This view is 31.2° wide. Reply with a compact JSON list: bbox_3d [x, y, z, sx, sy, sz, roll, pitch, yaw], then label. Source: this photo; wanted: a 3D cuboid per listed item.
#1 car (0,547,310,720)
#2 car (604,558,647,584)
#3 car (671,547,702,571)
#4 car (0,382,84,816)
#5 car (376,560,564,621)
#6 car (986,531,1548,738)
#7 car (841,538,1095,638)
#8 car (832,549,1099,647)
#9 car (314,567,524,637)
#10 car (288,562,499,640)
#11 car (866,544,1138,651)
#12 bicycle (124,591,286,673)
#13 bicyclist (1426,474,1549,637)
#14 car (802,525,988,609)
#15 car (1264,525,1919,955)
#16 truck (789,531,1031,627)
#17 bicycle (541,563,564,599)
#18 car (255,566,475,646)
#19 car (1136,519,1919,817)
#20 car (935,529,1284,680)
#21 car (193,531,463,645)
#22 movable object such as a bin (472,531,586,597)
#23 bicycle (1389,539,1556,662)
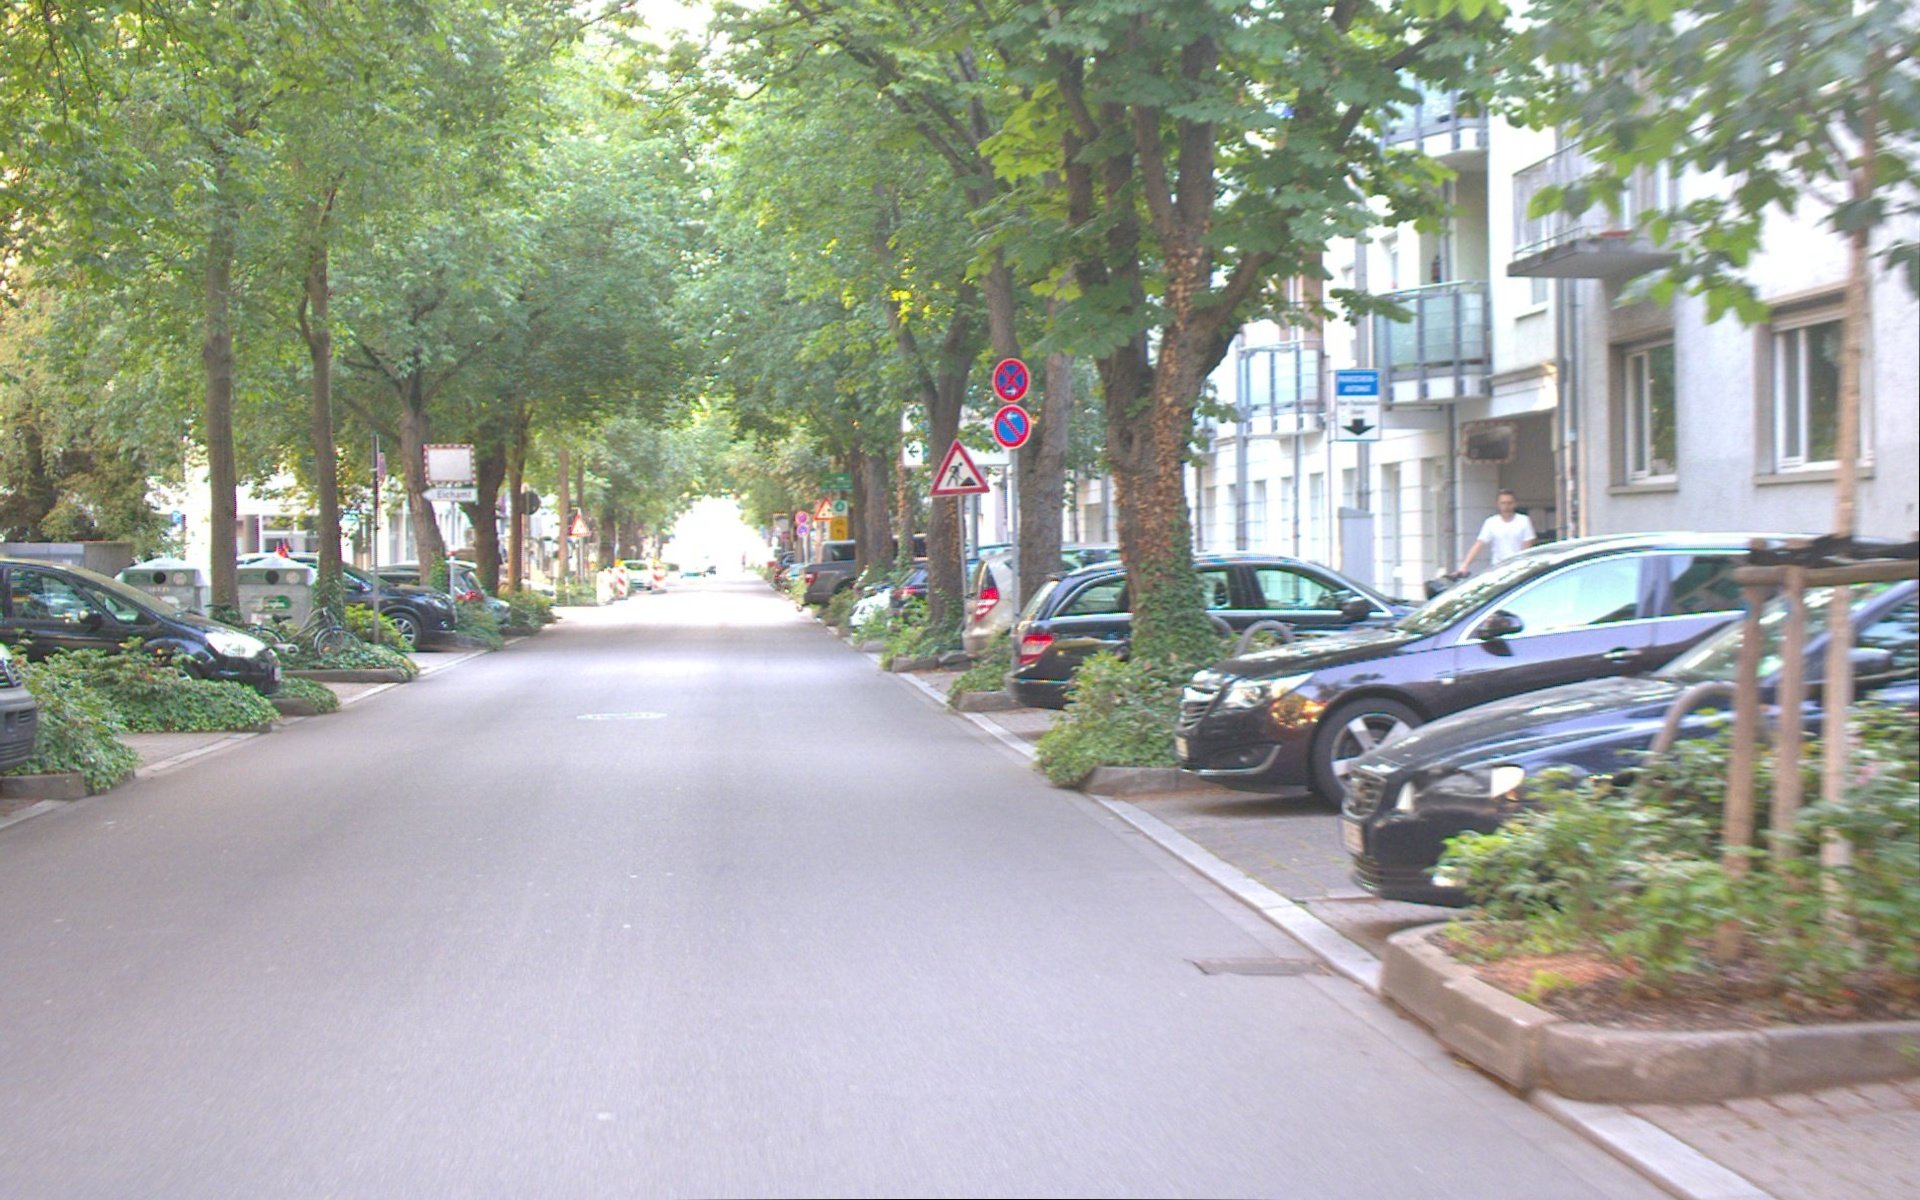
[{"bbox_3d":[-8.950,0.310,33.606,4.852,1.616,2.160,0,1,-3],"label":"car"},{"bbox_3d":[-16.733,-1.459,171.816,1.993,1.284,4.001,-1,1,-8],"label":"car"},{"bbox_3d":[-18.439,-2.780,231.964,2.009,1.607,4.120,0,1,-5],"label":"car"},{"bbox_3d":[-8.153,-0.003,21.210,5.002,2.564,2.121,0,1,-4],"label":"car"},{"bbox_3d":[-12.695,-0.249,89.227,4.618,1.547,2.075,0,1,-1],"label":"car"},{"bbox_3d":[2.483,0.266,28.746,4.459,1.422,2.011,-3,1,1],"label":"car"},{"bbox_3d":[0.136,-0.252,67.124,4.641,1.612,2.010,-4,1,-8],"label":"car"},{"bbox_3d":[0.067,-0.054,61.784,4.599,1.463,1.796,-3,1,-4],"label":"car"},{"bbox_3d":[-11.515,0.037,73.392,4.287,1.425,1.879,0,1,-4],"label":"car"},{"bbox_3d":[-11.631,0.007,70.750,3.987,1.560,1.929,0,1,1],"label":"car"},{"bbox_3d":[0.660,-0.058,55.938,4.082,1.446,1.935,-4,1,-9],"label":"car"},{"bbox_3d":[-7.856,0.328,35.806,1.553,0.828,0.613,0,1,-1],"label":"bicycle"},{"bbox_3d":[5.296,-0.448,34.582,0.970,1.599,1.136,-1,1,-4],"label":"bicyclist"},{"bbox_3d":[-1.685,-0.851,87.833,4.599,2.059,2.198,-1,1,-5],"label":"car"},{"bbox_3d":[3.752,0.434,13.478,4.839,1.443,2.042,-3,1,-1],"label":"car"},{"bbox_3d":[-1.278,-0.522,85.112,5.887,2.303,2.213,-1,1,-3],"label":"truck"},{"bbox_3d":[-13.345,-0.638,112.558,0.683,1.149,1.981,-1,1,-9],"label":"bicycle"},{"bbox_3d":[-11.332,0.102,65.712,3.986,1.459,1.923,0,1,-5],"label":"car"},{"bbox_3d":[3.479,0.349,19.917,4.677,1.383,2.000,-3,1,-2],"label":"car"},{"bbox_3d":[1.783,0.042,41.928,3.968,1.580,1.917,-3,1,-4],"label":"car"},{"bbox_3d":[-11.067,-0.227,60.492,4.504,1.949,2.000,0,1,-5],"label":"car"},{"bbox_3d":[-15.944,-1.354,126.954,4.045,2.375,2.785,-1,1,-9],"label":"movable object such as a bin"},{"bbox_3d":[5.084,-0.013,34.356,0.620,1.160,3.402,-1,1,-10],"label":"bicycle"}]
